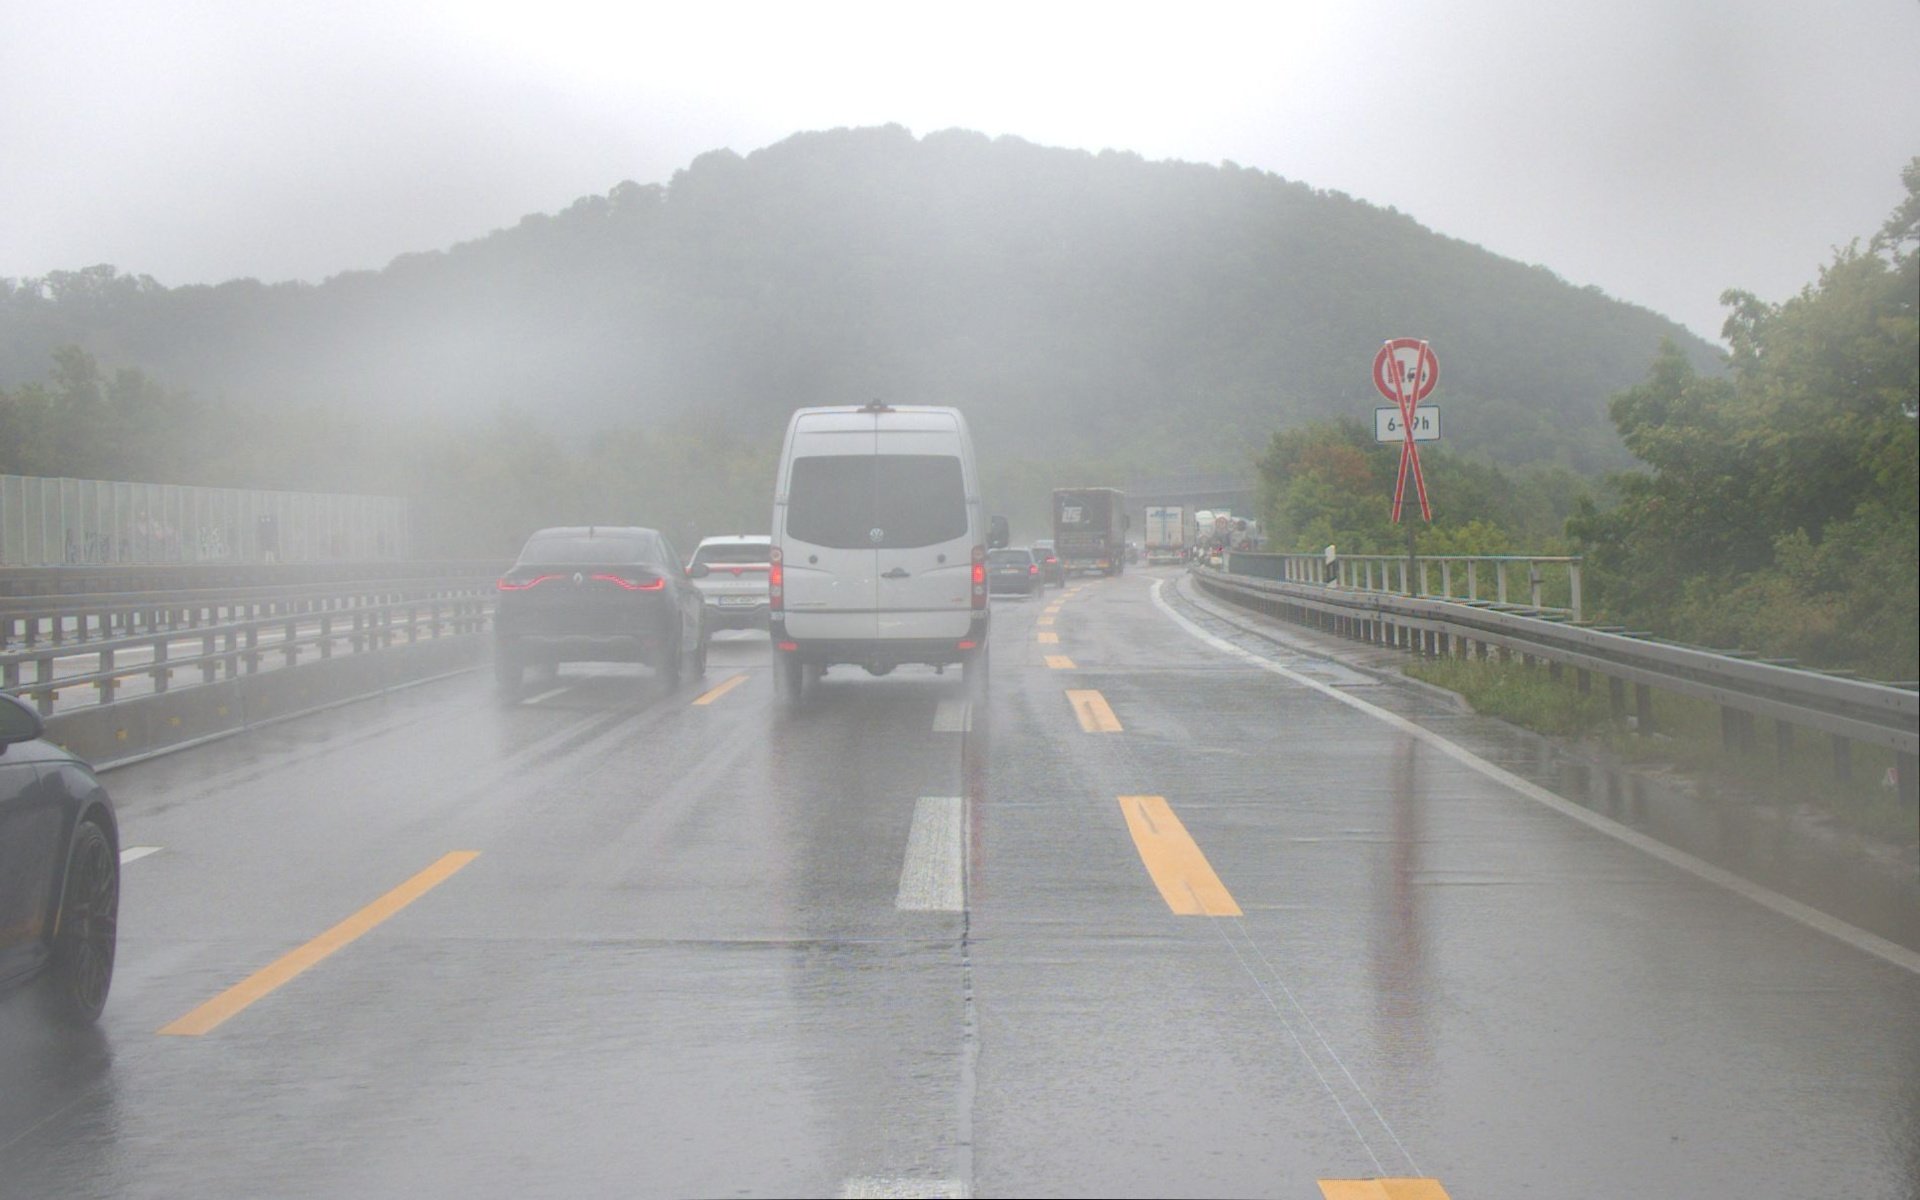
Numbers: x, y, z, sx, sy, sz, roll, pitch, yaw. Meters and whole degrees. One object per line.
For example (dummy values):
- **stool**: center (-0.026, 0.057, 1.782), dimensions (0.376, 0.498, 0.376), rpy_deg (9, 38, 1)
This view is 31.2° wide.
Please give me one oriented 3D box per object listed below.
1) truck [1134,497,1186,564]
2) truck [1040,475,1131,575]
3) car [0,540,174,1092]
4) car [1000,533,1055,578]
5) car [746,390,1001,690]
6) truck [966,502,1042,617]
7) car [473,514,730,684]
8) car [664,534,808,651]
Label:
- **truck**: center (13.559, -4.667, 232.442), dimensions (3.037, 4.391, 9.622), rpy_deg (1, 0, 6)
- **truck**: center (5.805, -3.386, 157.666), dimensions (3.582, 4.391, 9.622), rpy_deg (1, 0, 5)
- **car**: center (-3.590, 0.576, 8.892), dimensions (1.993, 1.492, 4.631), rpy_deg (1, 1, 1)
- **car**: center (2.292, -1.494, 116.319), dimensions (1.774, 1.470, 4.000), rpy_deg (1, 0, 2)
- **car**: center (-0.721, -0.543, 32.461), dimensions (2.145, 2.562, 5.389), rpy_deg (1, 0, 1)
- **truck**: center (1.284, -1.134, 97.383), dimensions (1.993, 3.098, 8.498), rpy_deg (1, 0, 1)
- **car**: center (-3.529, -0.029, 34.618), dimensions (1.993, 1.579, 4.413), rpy_deg (1, 0, 1)
- **car**: center (-3.274, -0.126, 50.759), dimensions (1.993, 1.612, 4.797), rpy_deg (1, 0, -3)
